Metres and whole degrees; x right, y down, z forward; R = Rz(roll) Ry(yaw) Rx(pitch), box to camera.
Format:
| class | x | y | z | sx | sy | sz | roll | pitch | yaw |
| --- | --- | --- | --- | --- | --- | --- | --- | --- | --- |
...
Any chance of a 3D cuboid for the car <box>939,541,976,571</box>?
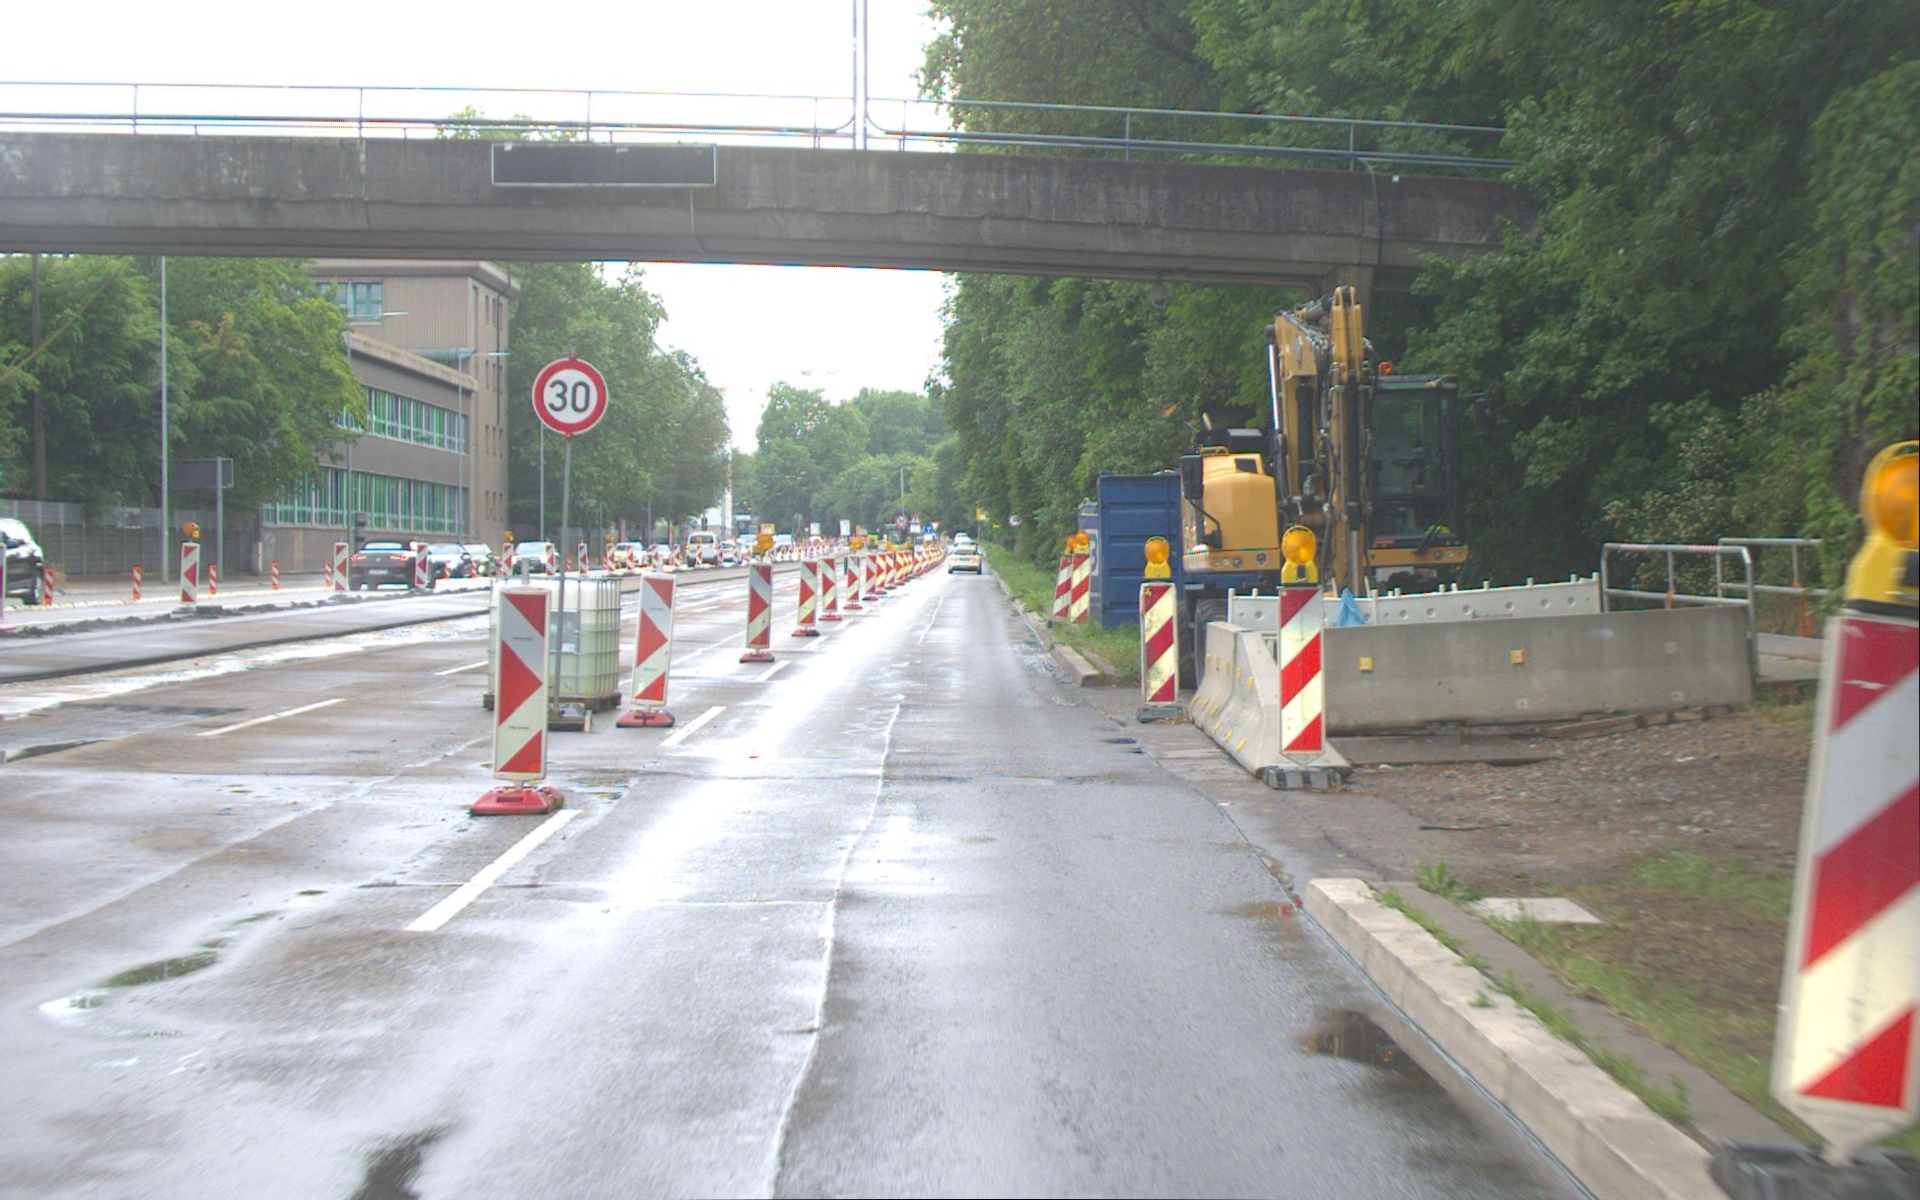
| class | x | y | z | sx | sy | sz | roll | pitch | yaw |
| --- | --- | --- | --- | --- | --- | --- | --- | --- | --- |
| car | -0.136 | -2.392 | 186.766 | 1.993 | 1.634 | 4.000 | 0 | 1 | 0 |

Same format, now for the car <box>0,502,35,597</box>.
| class | x | y | z | sx | sy | sz | roll | pitch | yaw |
| --- | --- | --- | --- | --- | --- | --- | --- | --- | --- |
| car | -19.222 | -0.962 | 65.332 | 1.971 | 1.800 | 4.608 | 0 | 1 | 1 |
